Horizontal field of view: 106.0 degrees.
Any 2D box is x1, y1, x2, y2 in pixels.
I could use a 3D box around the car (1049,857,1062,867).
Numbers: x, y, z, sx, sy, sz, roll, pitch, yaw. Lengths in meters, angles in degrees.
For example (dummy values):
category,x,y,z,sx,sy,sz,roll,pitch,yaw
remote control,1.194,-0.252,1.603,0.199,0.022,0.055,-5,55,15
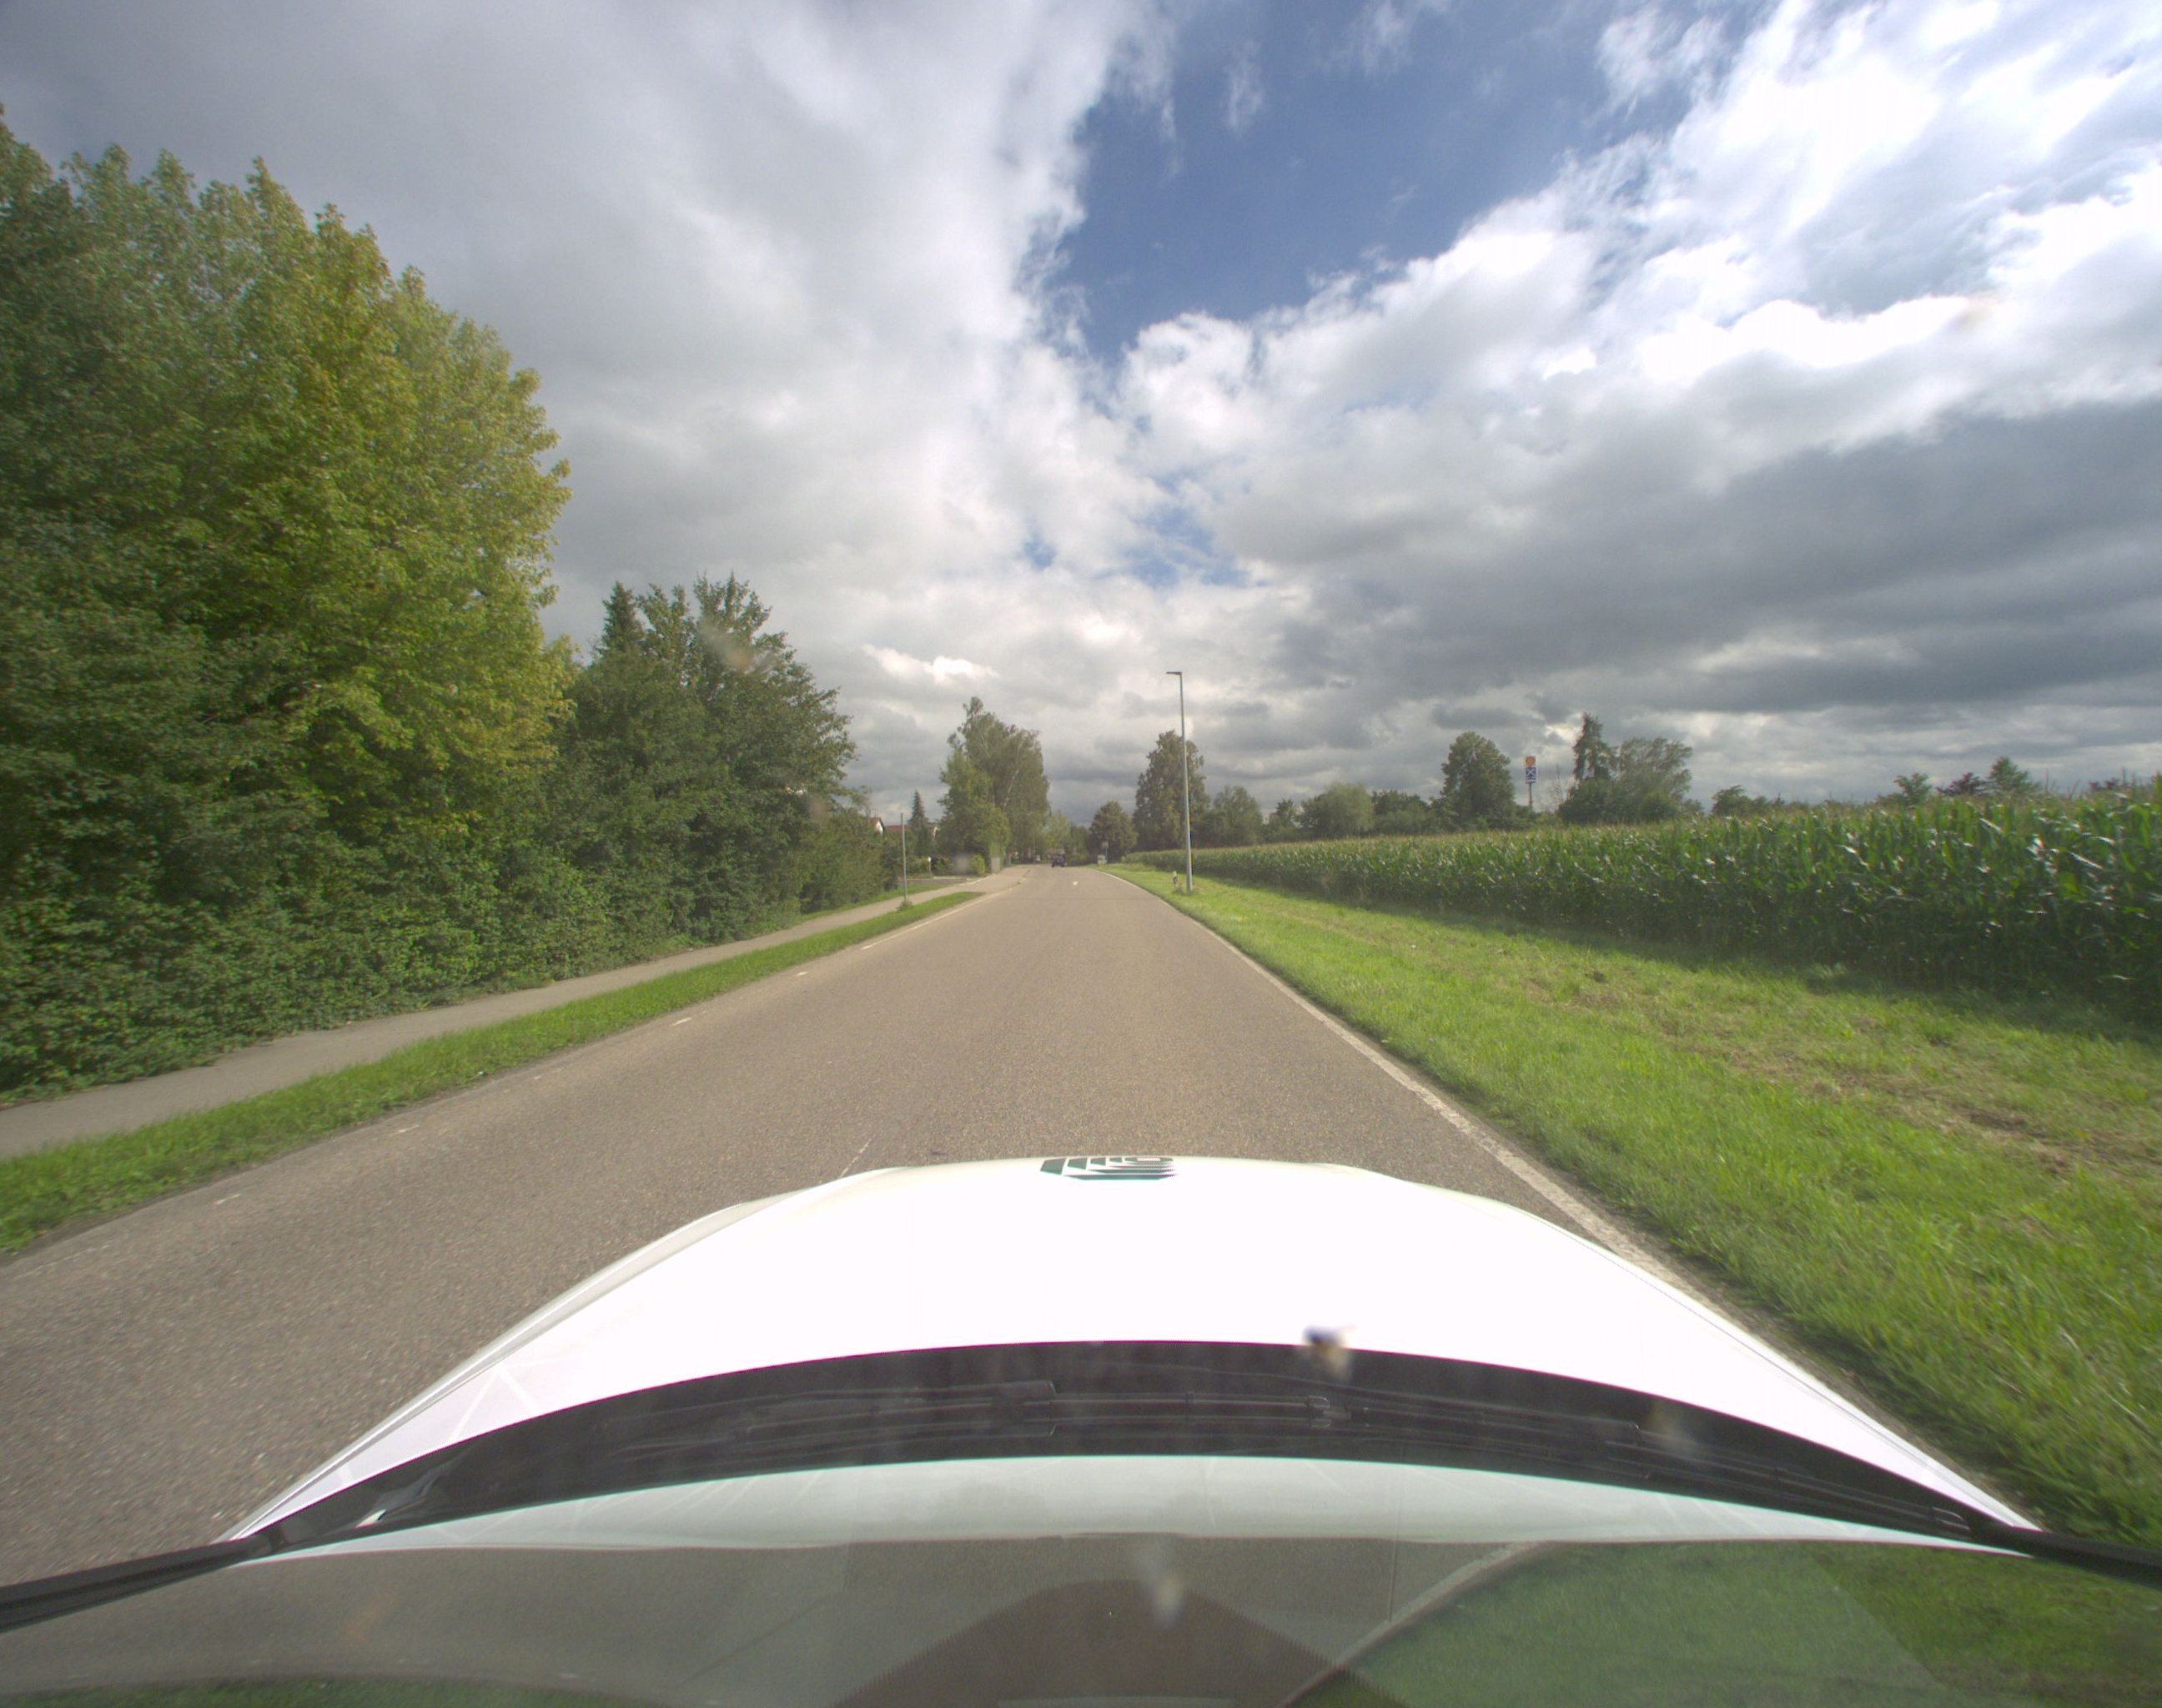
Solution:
category,x,y,z,sx,sy,sz,roll,pitch,yaw
car,-4.075,1.281,130.229,1.989,1.585,3.995,0,-1,-3
